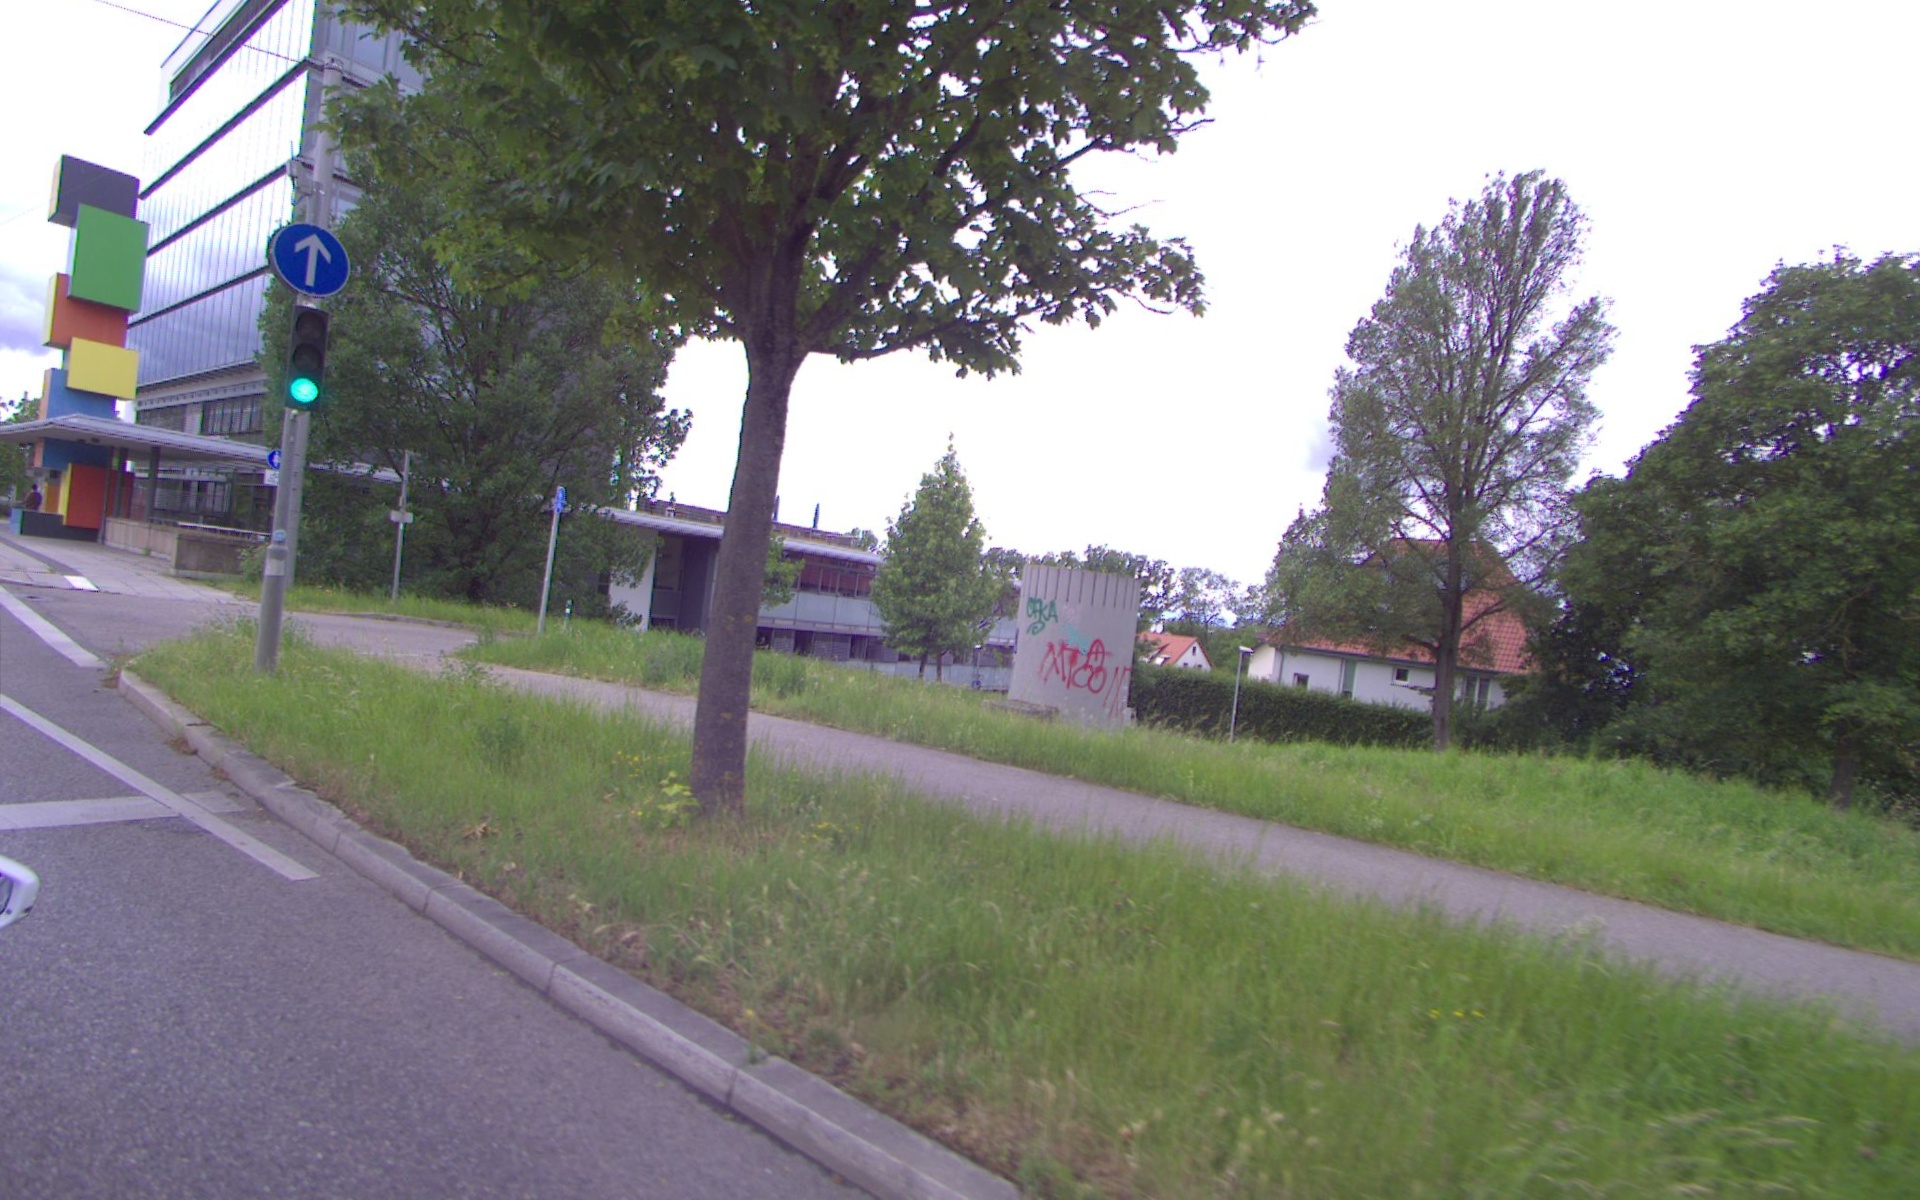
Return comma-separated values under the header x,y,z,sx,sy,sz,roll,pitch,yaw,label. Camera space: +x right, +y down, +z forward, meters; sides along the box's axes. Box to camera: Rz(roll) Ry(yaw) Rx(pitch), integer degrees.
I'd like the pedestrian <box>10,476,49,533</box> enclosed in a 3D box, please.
x,y,z,sx,sy,sz,roll,pitch,yaw,label
-32.301,-3.303,34.926,0.752,1.838,0.710,7,1,33,pedestrian
